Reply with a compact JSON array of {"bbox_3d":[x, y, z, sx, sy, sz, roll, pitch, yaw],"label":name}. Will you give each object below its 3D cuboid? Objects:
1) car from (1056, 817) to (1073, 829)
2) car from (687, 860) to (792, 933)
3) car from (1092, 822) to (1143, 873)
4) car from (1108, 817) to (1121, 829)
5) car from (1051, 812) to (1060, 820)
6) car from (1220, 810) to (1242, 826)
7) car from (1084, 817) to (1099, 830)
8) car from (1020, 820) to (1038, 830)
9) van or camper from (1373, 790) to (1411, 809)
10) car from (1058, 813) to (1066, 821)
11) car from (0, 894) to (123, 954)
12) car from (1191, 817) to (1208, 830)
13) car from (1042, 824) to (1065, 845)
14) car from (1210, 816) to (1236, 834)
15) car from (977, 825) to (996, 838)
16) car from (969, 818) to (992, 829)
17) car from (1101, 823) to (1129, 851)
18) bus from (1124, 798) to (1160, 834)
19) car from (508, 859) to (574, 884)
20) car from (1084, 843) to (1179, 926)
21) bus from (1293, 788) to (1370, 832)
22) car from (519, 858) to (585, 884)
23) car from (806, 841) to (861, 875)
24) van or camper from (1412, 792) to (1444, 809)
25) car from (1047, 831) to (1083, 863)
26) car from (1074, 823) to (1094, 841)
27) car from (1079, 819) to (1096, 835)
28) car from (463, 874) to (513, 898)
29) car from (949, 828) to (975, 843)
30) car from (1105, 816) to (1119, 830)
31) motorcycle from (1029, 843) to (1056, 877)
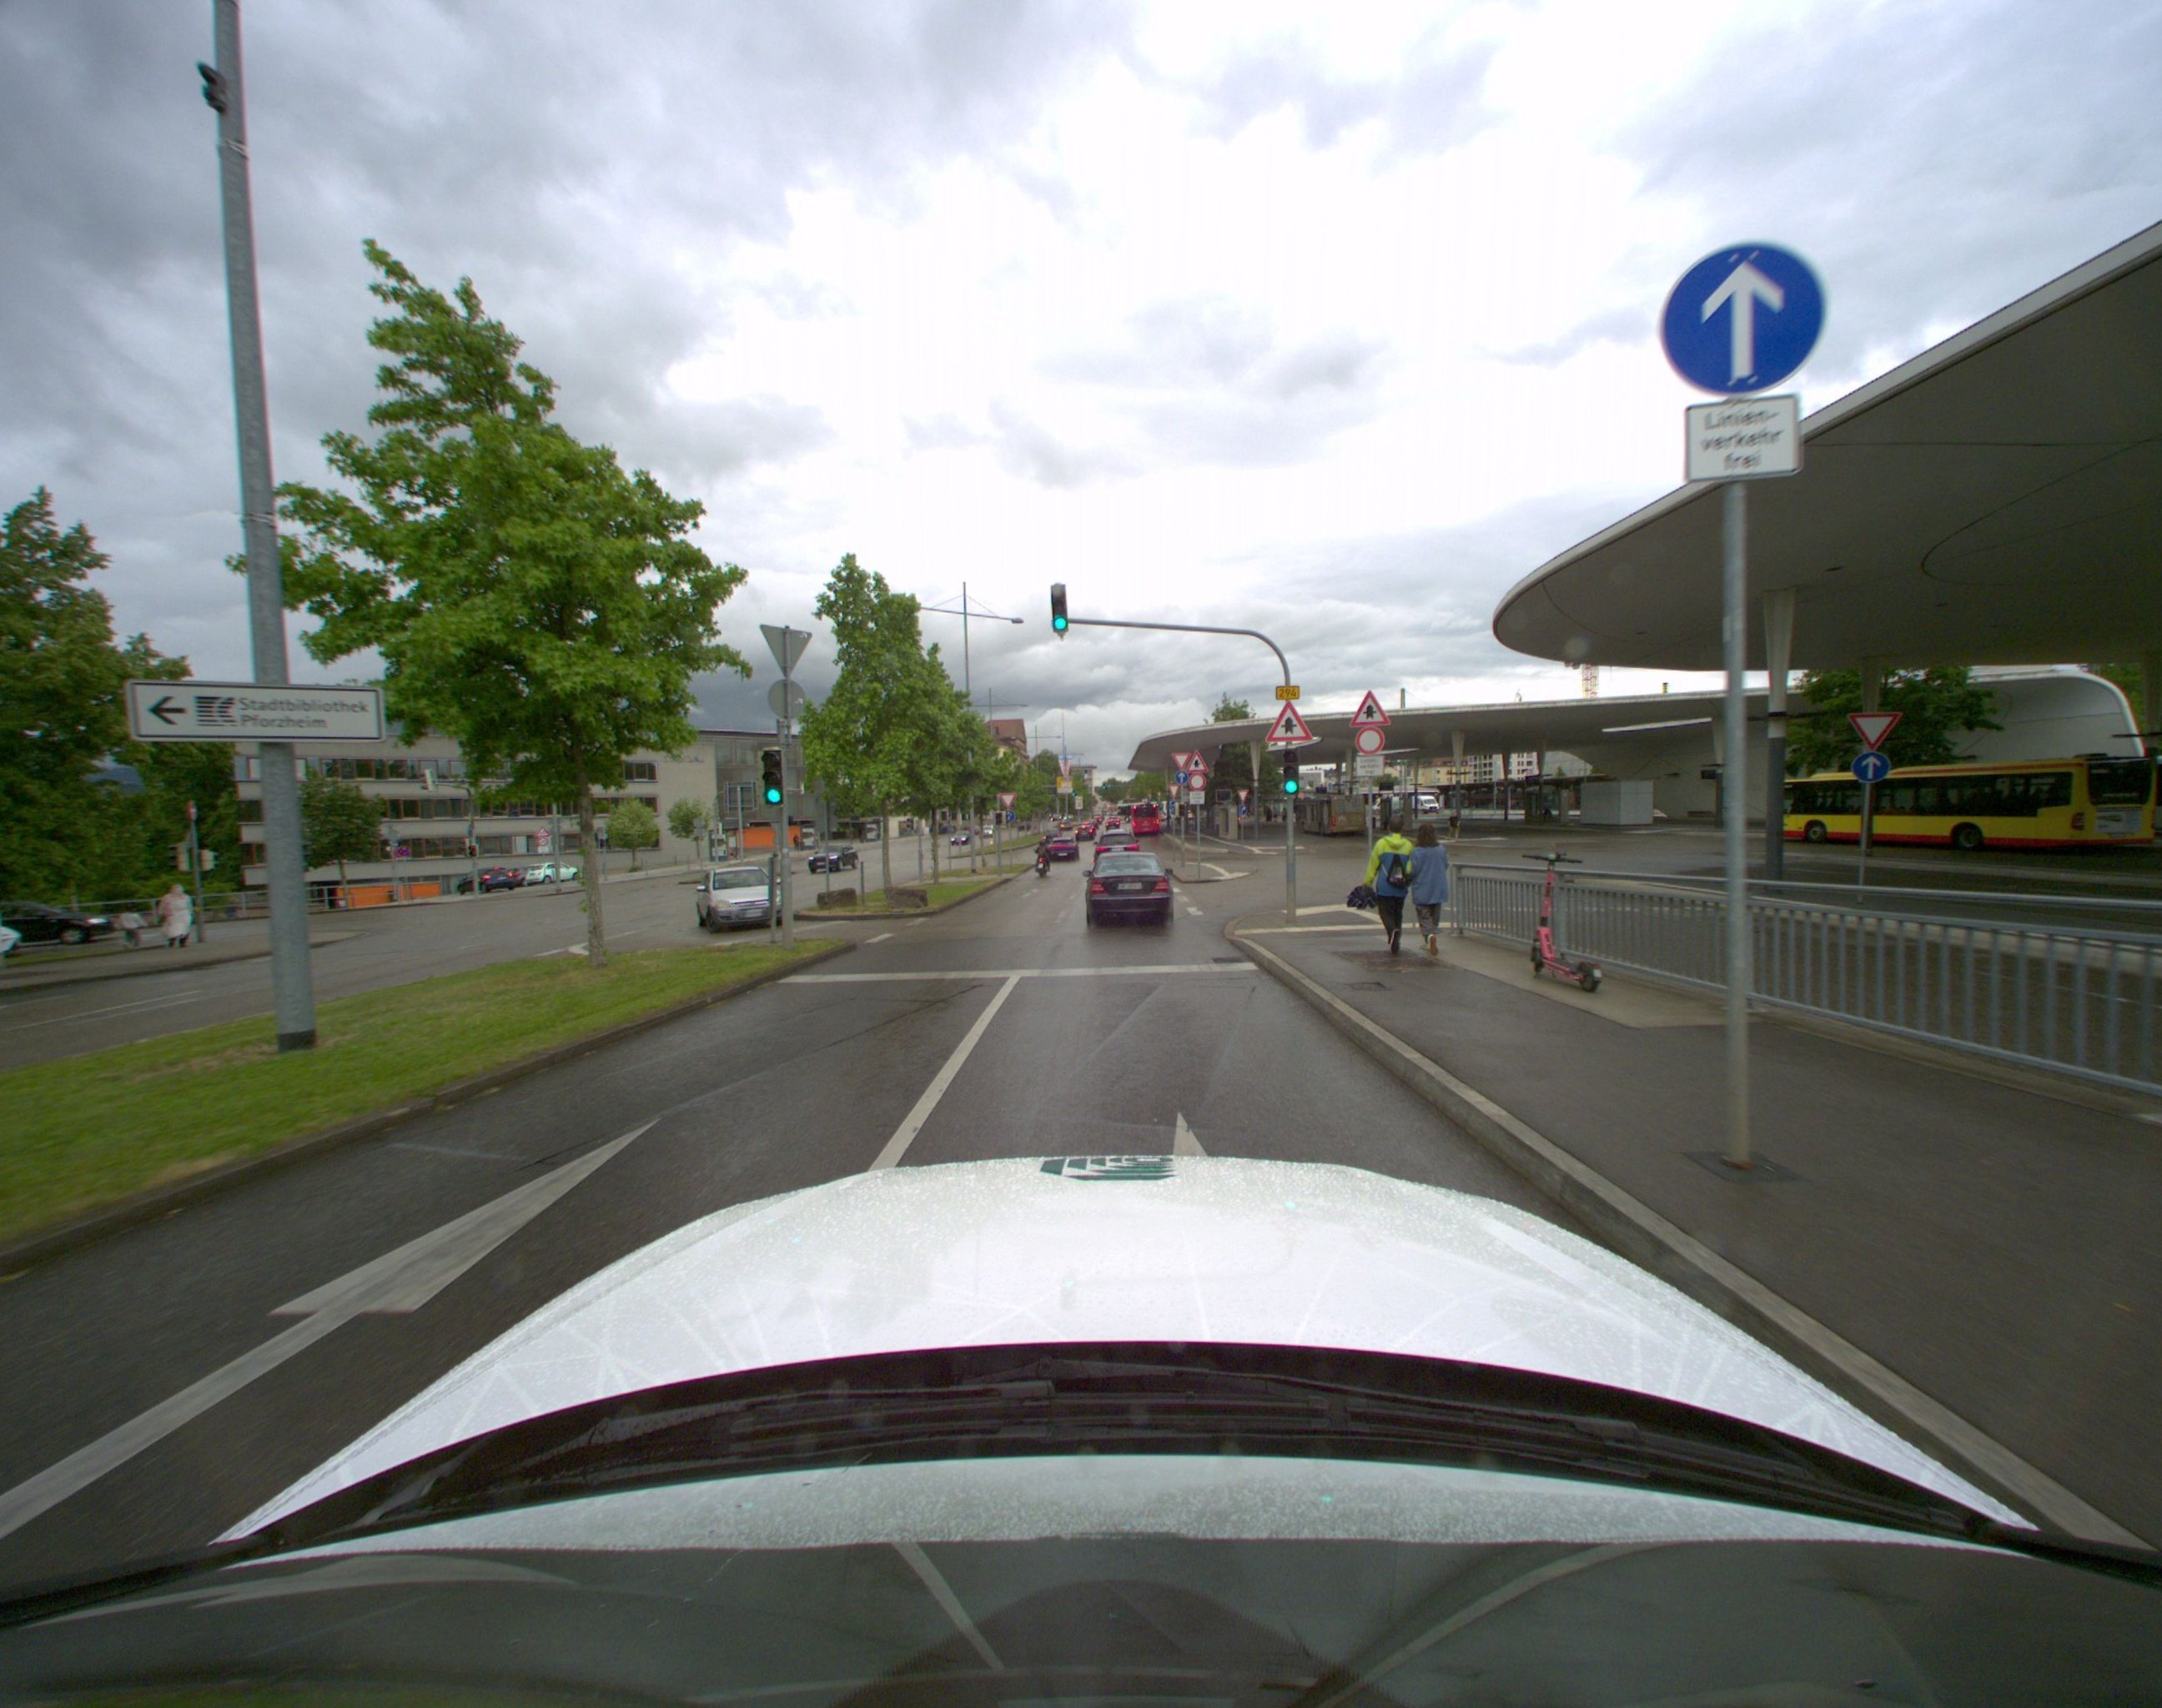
[{"bbox_3d":[-2.406,-4.405,115.948,1.865,1.684,3.987,1,0,-9],"label":"car"},{"bbox_3d":[-8.256,0.947,19.494,1.643,1.448,3.837,-5,1,-32],"label":"car"},{"bbox_3d":[1.611,-0.363,36.369,1.950,1.875,4.878,-5,3,2],"label":"car"},{"bbox_3d":[5.050,-4.579,122.252,1.859,1.684,4.002,1,0,2],"label":"car"},{"bbox_3d":[-5.845,-8.856,188.137,1.773,1.566,3.433,-5,3,2],"label":"car"},{"bbox_3d":[16.437,-4.002,89.668,1.705,1.661,4.242,-2,3,1],"label":"car"},{"bbox_3d":[1.466,-4.182,112.590,1.859,1.684,4.002,1,0,2],"label":"car"},{"bbox_3d":[-8.361,-4.611,130.630,1.733,1.560,3.743,-2,1,-20],"label":"car"},{"bbox_3d":[44.291,-7.747,116.001,4.591,2.557,2.119,0,1,0],"label":"van or camper"},{"bbox_3d":[-4.437,-8.824,193.982,1.569,1.566,3.433,-5,3,2],"label":"car"},{"bbox_3d":[-33.769,2.269,26.033,1.706,1.567,3.862,0,4,44],"label":"car"},{"bbox_3d":[16.230,-4.241,111.862,1.705,1.661,4.242,-2,3,1],"label":"car"},{"bbox_3d":[-2.463,-1.781,73.104,1.670,1.622,3.874,-5,3,2],"label":"car"},{"bbox_3d":[12.094,-2.490,69.338,1.641,1.452,3.238,-2,3,0],"label":"car"},{"bbox_3d":[-12.883,-3.086,110.908,1.840,1.652,4.423,-2,3,2],"label":"car"},{"bbox_3d":[-17.320,-5.293,140.255,3.593,1.804,1.657,1,0,36],"label":"car"},{"bbox_3d":[2.272,-1.175,54.642,1.734,1.566,3.874,-5,3,2],"label":"car"},{"bbox_3d":[6.140,-3.982,83.481,3.273,3.290,10.890,-3,3,3],"label":"bus"},{"bbox_3d":[-38.684,1.223,58.429,1.615,1.495,3.599,-2,3,17],"label":"car"},{"bbox_3d":[0.990,0.519,17.003,1.691,1.462,4.306,-2,1,2],"label":"car"},{"bbox_3d":[19.702,-3.498,64.941,2.711,3.042,12.099,-3,3,2],"label":"bus"},{"bbox_3d":[-37.227,1.181,57.433,1.615,1.495,3.599,-2,3,17],"label":"car"},{"bbox_3d":[-15.228,0.189,50.372,1.903,1.661,4.857,-2,4,-1],"label":"car"},{"bbox_3d":[46.565,-7.176,109.412,1.986,2.102,5.483,0,1,2],"label":"van or camper"},{"bbox_3d":[-0.904,-0.446,49.179,1.809,1.570,4.408,-5,3,2],"label":"car"},{"bbox_3d":[0.316,-2.157,79.868,1.569,1.504,3.875,-5,3,3],"label":"car"},{"bbox_3d":[0.755,-2.984,88.646,1.569,1.566,3.874,-5,3,2],"label":"car"},{"bbox_3d":[-37.213,1.960,51.097,3.536,1.350,1.493,-1,3,36],"label":"car"},{"bbox_3d":[-13.218,-2.089,90.917,1.839,1.504,4.925,-2,3,3],"label":"car"},{"bbox_3d":[3.780,-3.868,100.694,1.569,1.566,3.874,-5,3,2],"label":"car"},{"bbox_3d":[-1.637,0.245,34.731,0.789,1.261,1.858,-4,3,6],"label":"motorcycle"}]
